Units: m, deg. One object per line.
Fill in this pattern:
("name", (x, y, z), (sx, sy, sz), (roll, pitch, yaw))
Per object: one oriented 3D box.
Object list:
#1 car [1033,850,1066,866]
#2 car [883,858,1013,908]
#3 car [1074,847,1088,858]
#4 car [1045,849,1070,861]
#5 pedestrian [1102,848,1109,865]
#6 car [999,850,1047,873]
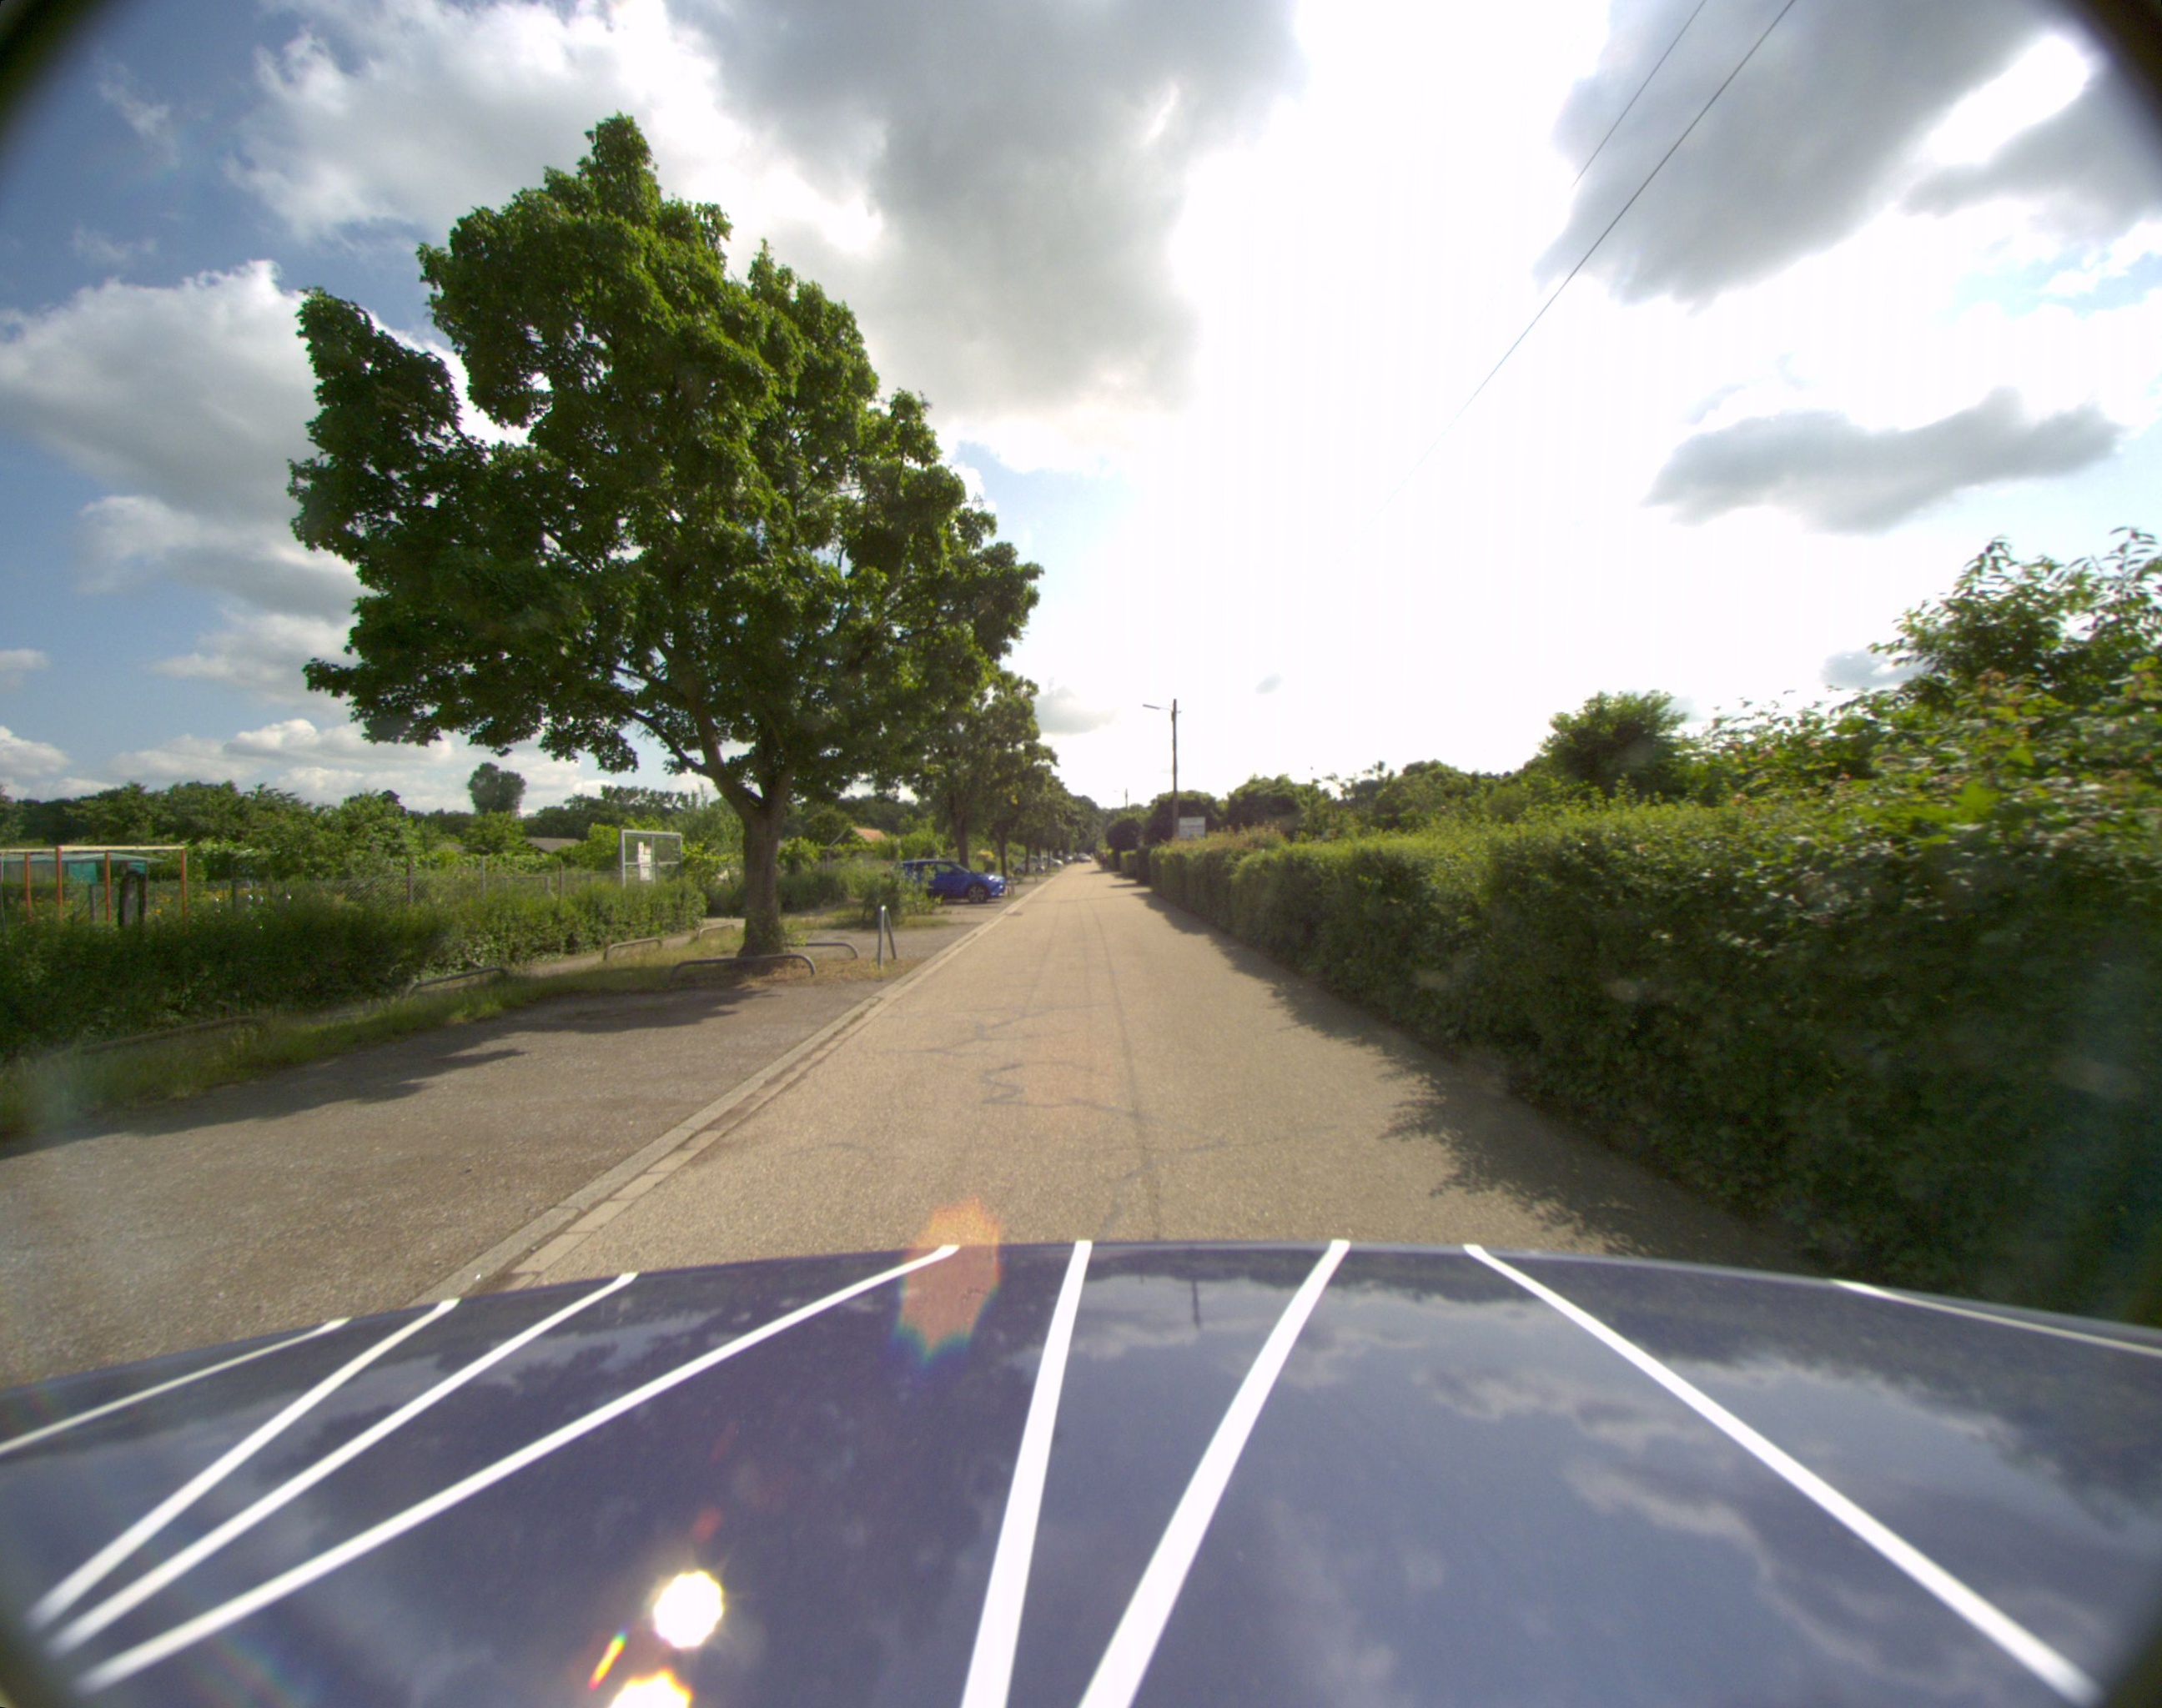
("car", (-3.869, 0.483, 94.673), (3.929, 1.740, 2.000), (-2, 1, 0))
("car", (-4.479, 0.956, 26.089), (4.116, 1.573, 1.780), (-1, 1, -1))
("car", (0.051, -0.224, 124.520), (1.998, 1.740, 3.932), (-2, 1, 2))
("car", (-3.834, 0.133, 123.185), (3.998, 1.824, 1.999), (-2, 1, -3))
("pedestrian", (2.520, 0.270, 78.727), (0.701, 1.701, 0.788), (-2, 1, 0))
("car", (-5.005, 0.621, 66.069), (3.929, 1.740, 2.000), (-2, 1, 0))
